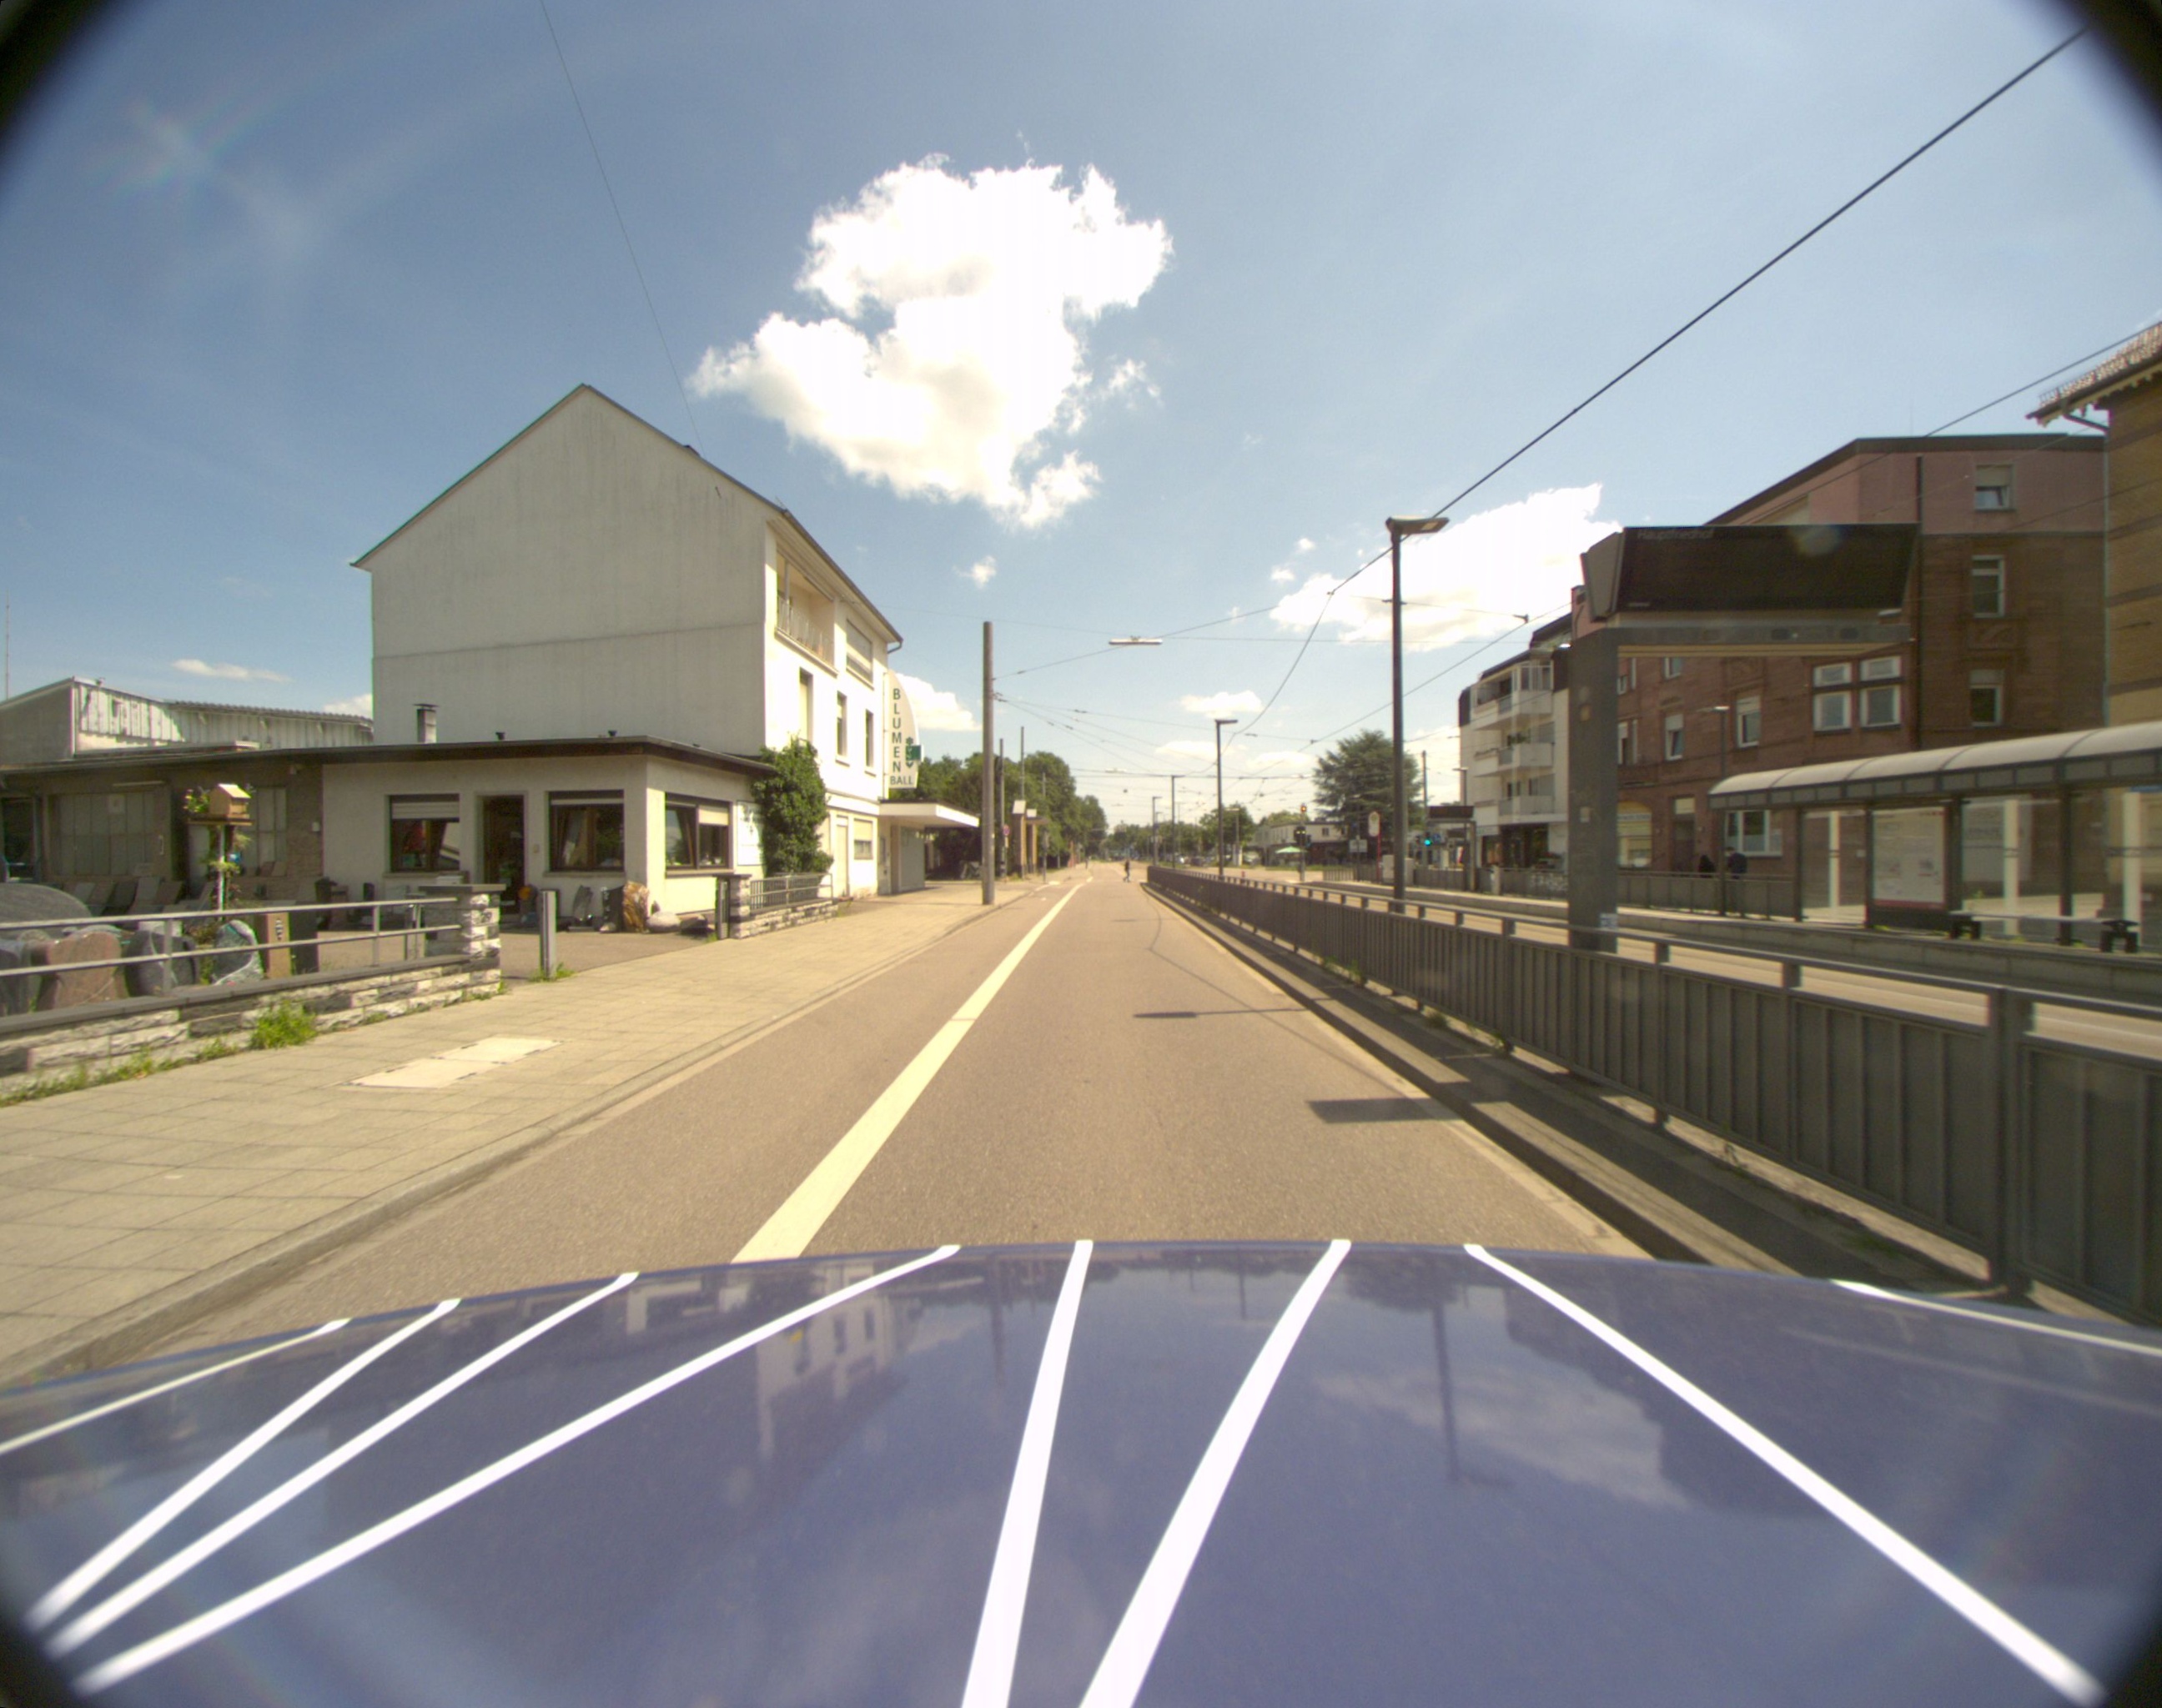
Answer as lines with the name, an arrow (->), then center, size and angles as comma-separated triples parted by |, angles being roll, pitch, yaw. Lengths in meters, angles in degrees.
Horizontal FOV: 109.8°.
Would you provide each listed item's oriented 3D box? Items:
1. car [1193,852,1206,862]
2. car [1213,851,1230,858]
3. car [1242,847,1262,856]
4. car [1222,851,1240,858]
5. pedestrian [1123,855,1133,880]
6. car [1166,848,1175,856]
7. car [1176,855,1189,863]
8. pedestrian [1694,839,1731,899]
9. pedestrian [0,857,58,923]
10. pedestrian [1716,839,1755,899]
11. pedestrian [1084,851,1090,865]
car -> 20.209, 0.488, 129.932 | 1.727, 1.673, 4.280 | 1, 0, 3
car -> 35.426, 0.087, 191.446 | 3.996, 1.726, 1.803 | 1, 1, 2
car -> 51.286, -0.718, 227.778 | 5.697, 2.467, 2.259 | 0, 1, -1
car -> 36.737, 0.122, 185.789 | 3.996, 1.726, 1.903 | 0, 0, 2
pedestrian -> 3.018, 0.829, 48.359 | 0.578, 1.547, 0.786 | 2, 1, 5
car -> 27.022, -0.633, 228.631 | 2.071, 2.089, 4.488 | -2, 1, 0
car -> 20.829, 1.021, 155.902 | 1.998, 1.463, 4.401 | 0, 0, 1
pedestrian -> 21.606, 0.507, 26.016 | 0.678, 2.002, 0.684 | -1, 1, 0
pedestrian -> -21.587, 0.712, 15.438 | 0.646, 1.283, 0.717 | 1, 1, 2
pedestrian -> 22.409, 0.511, 26.043 | 0.619, 2.002, 0.810 | 0, 1, 0
pedestrian -> 0.860, 0.535, 105.637 | 0.767, 1.841, 0.718 | 0, 1, -2
